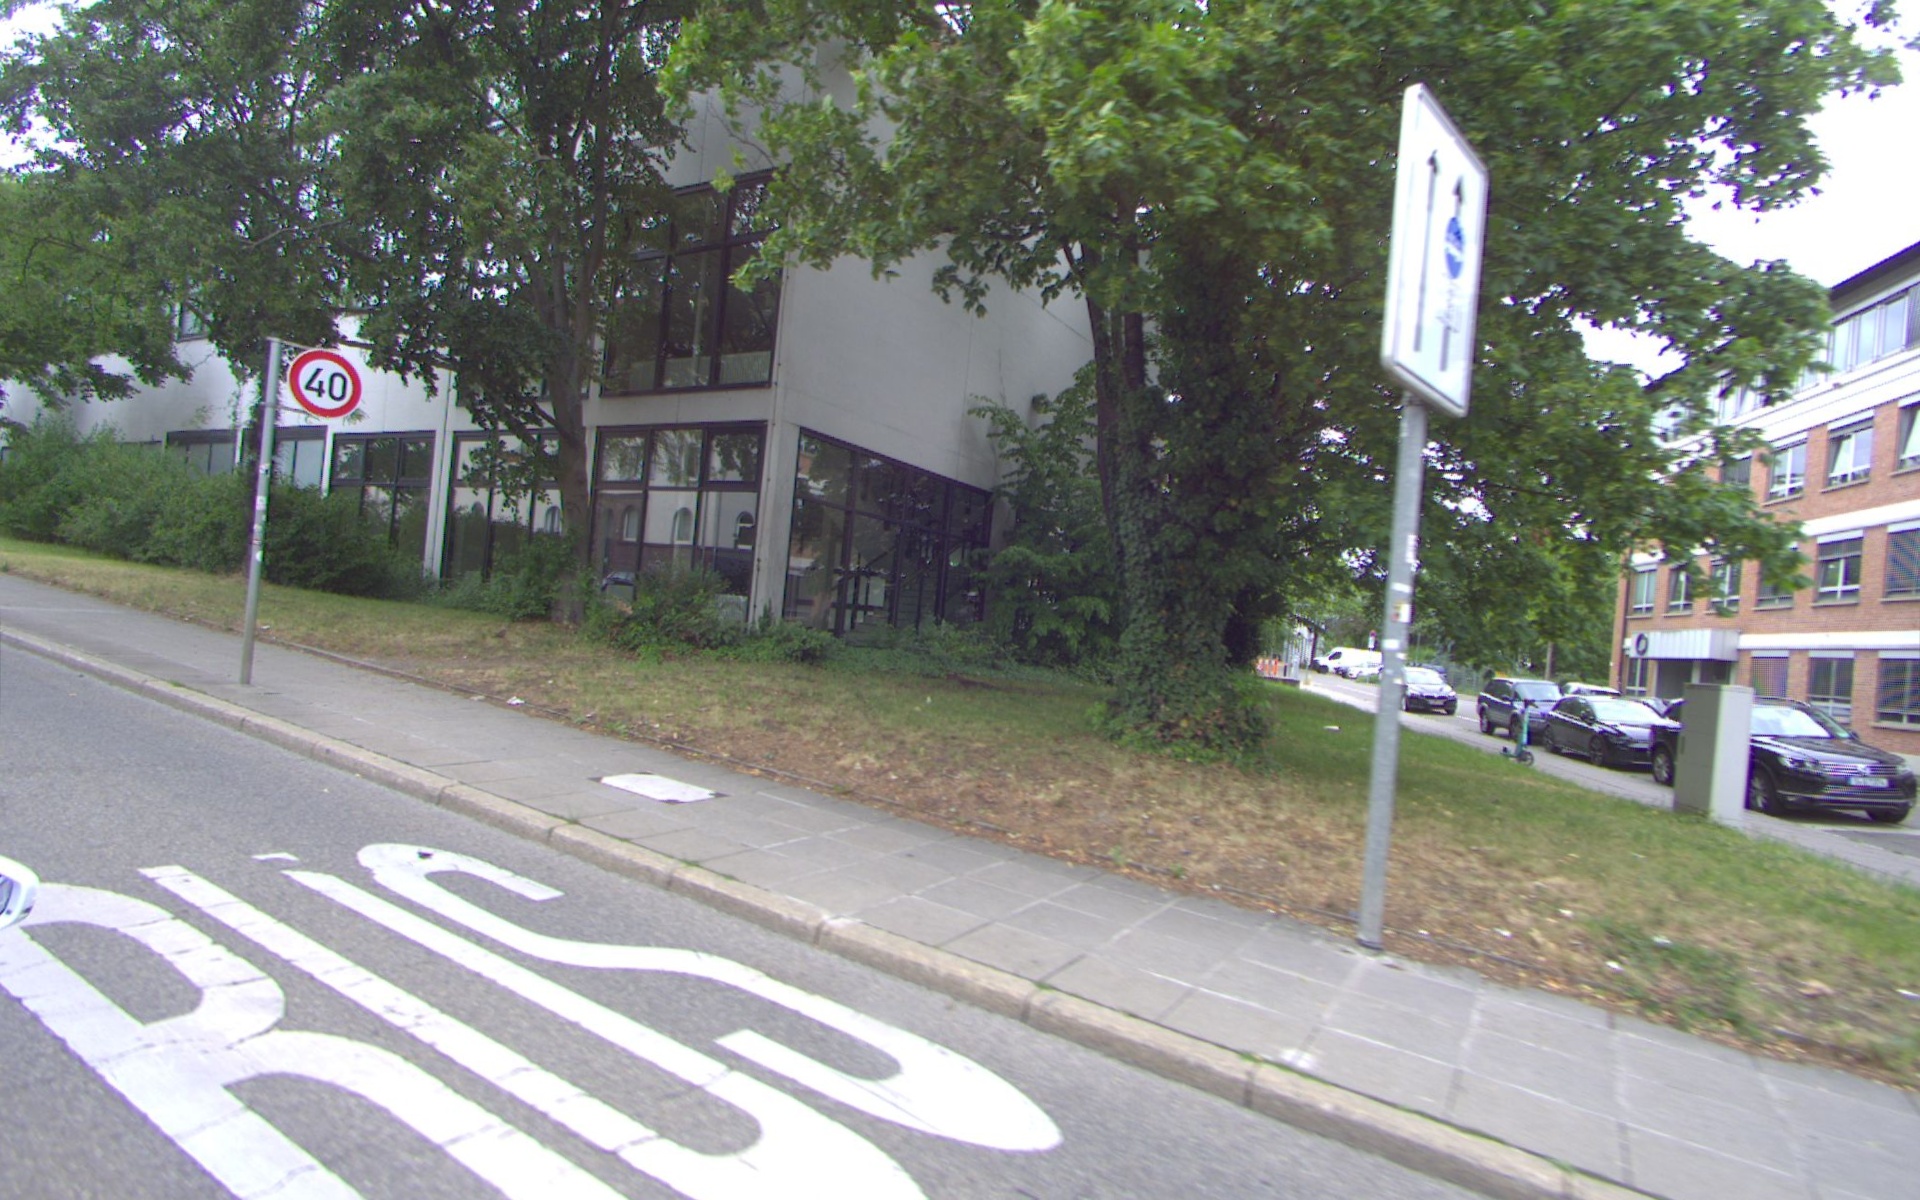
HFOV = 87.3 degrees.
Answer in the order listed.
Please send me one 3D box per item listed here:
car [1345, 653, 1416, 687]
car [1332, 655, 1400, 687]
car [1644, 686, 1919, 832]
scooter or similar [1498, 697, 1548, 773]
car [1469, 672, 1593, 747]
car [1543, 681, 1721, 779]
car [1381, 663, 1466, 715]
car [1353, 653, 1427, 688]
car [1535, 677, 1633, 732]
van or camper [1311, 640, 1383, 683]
[{"bbox_3d":[30.267,5.047,72.561,4.181,1.567,1.937,10,1,7],"label":"car"},{"bbox_3d":[30.289,5.279,75.191,4.181,1.567,1.937,10,1,7],"label":"car"},{"bbox_3d":[13.525,2.468,16.675,1.927,1.748,4.659,2,-1,12],"label":"car"},{"bbox_3d":[10.292,2.446,18.424,0.335,1.245,1.104,7,1,12],"label":"scooter or similar"},{"bbox_3d":[15.430,2.913,27.434,1.665,1.629,4.311,2,-1,12],"label":"car"},{"bbox_3d":[14.524,2.739,22.057,1.713,1.629,4.311,2,-1,12],"label":"car"},{"bbox_3d":[17.457,3.325,38.139,1.961,1.629,4.311,2,-1,12],"label":"car"},{"bbox_3d":[29.946,4.916,70.093,4.181,1.567,1.937,10,1,7],"label":"car"},{"bbox_3d":[25.072,4.150,40.598,1.688,1.567,4.262,10,1,10],"label":"car"},{"bbox_3d":[32.381,5.125,84.259,5.036,2.570,1.937,10,1,10],"label":"van or camper"}]
